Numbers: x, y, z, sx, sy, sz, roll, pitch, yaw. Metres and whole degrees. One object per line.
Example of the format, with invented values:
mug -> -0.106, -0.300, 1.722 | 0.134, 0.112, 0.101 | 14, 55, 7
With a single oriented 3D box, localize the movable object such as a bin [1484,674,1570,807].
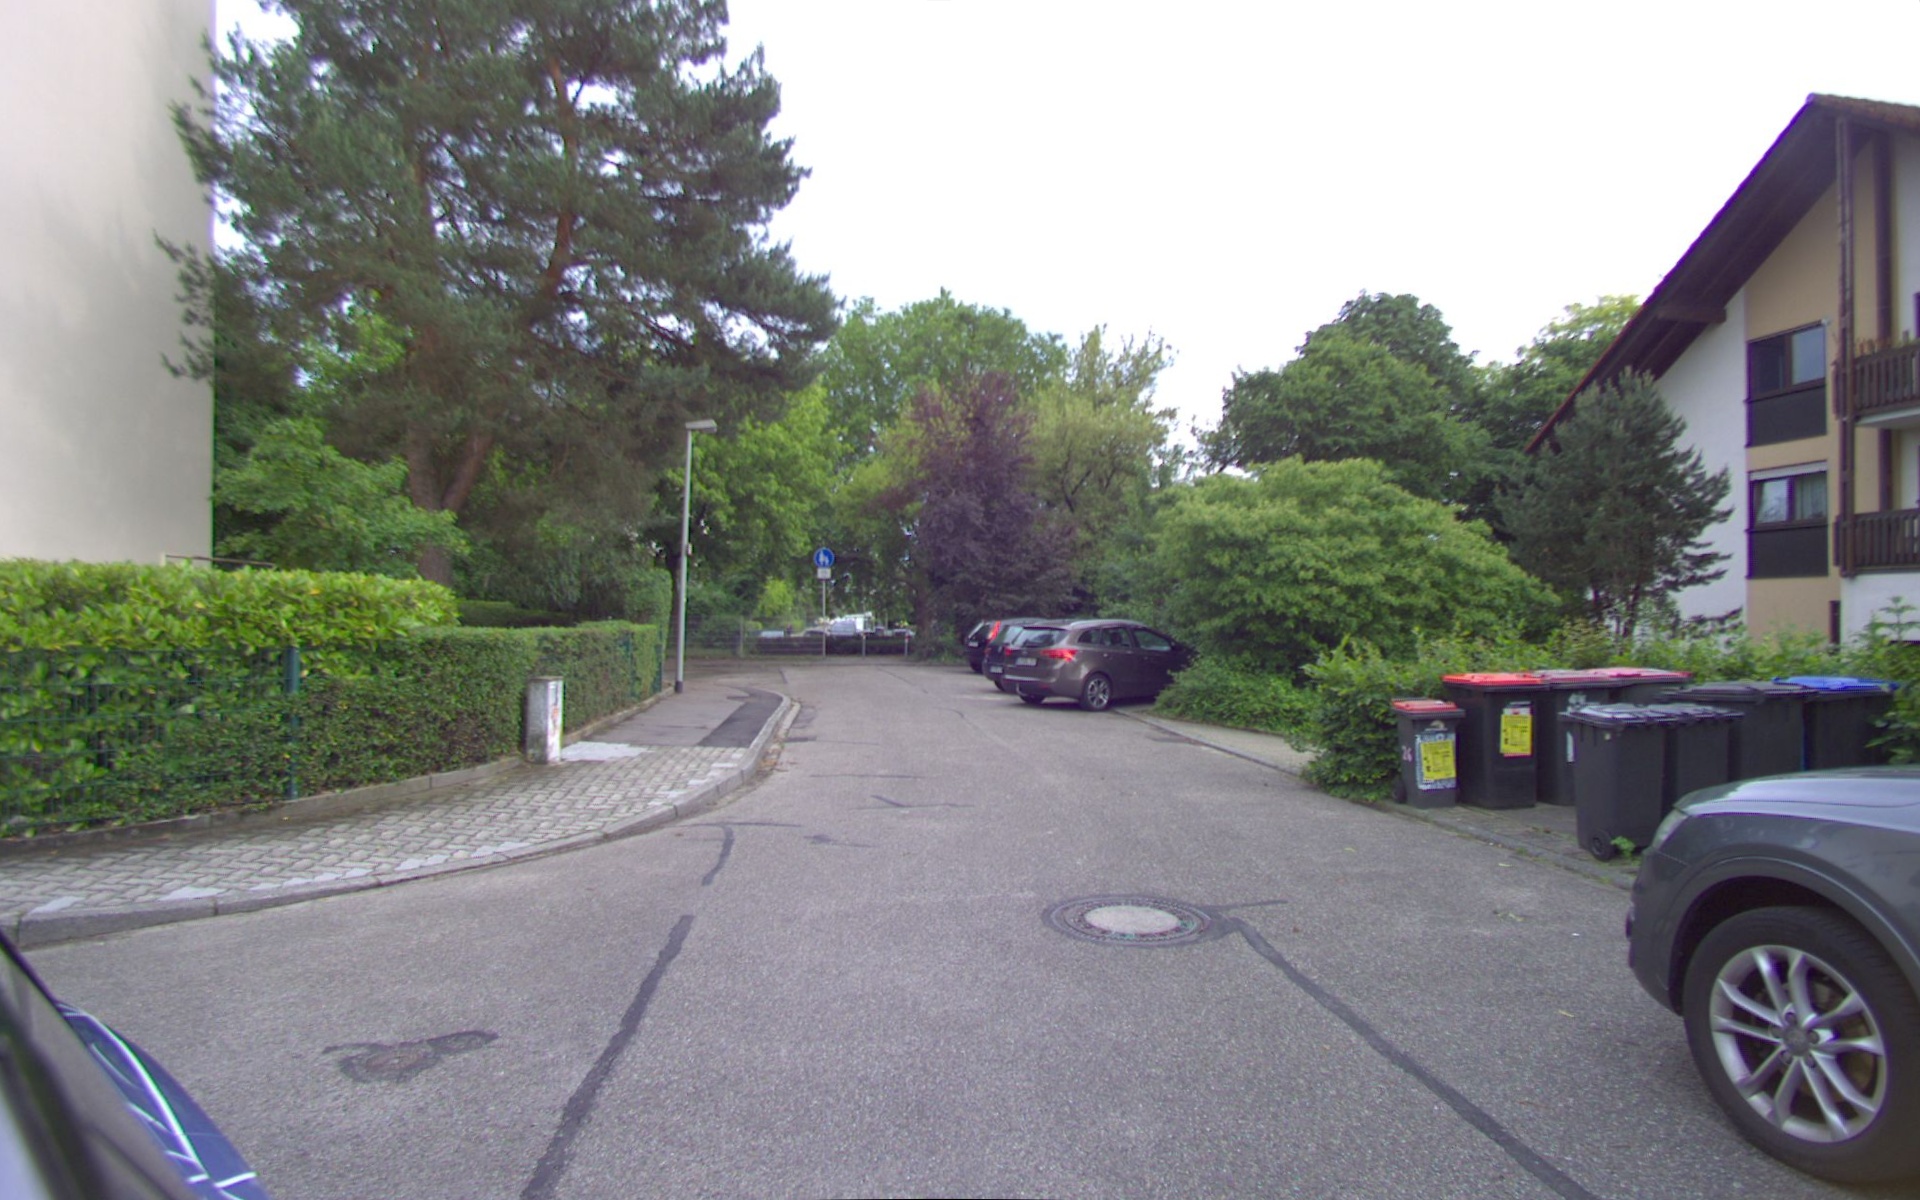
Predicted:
movable object such as a bin -> 4.579, 1.117, 8.190 | 0.332, 1.001, 0.540 | 0, 0, -12

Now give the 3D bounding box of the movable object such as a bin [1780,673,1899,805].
movable object such as a bin -> 5.810, 0.905, 6.699 | 0.373, 0.803, 0.462 | 0, 0, -10

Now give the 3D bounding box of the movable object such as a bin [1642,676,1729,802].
movable object such as a bin -> 5.578, 1.058, 7.787 | 0.373, 0.908, 0.388 | 0, 0, -12

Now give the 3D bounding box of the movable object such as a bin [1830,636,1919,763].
movable object such as a bin -> 6.230, 0.649, 6.786 | 0.373, 0.803, 0.461 | 0, 0, -10

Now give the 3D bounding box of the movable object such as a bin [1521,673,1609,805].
movable object such as a bin -> 4.927, 1.113, 8.254 | 0.332, 1.001, 0.540 | 0, 0, -12

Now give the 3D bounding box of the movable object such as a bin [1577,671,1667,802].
movable object such as a bin -> 5.436, 1.102, 8.324 | 0.332, 1.001, 0.540 | 0, 0, -12

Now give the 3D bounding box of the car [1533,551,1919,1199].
car -> 3.157, 0.675, 1.435 | 1.719, 1.542, 4.260 | 2, -1, -10
